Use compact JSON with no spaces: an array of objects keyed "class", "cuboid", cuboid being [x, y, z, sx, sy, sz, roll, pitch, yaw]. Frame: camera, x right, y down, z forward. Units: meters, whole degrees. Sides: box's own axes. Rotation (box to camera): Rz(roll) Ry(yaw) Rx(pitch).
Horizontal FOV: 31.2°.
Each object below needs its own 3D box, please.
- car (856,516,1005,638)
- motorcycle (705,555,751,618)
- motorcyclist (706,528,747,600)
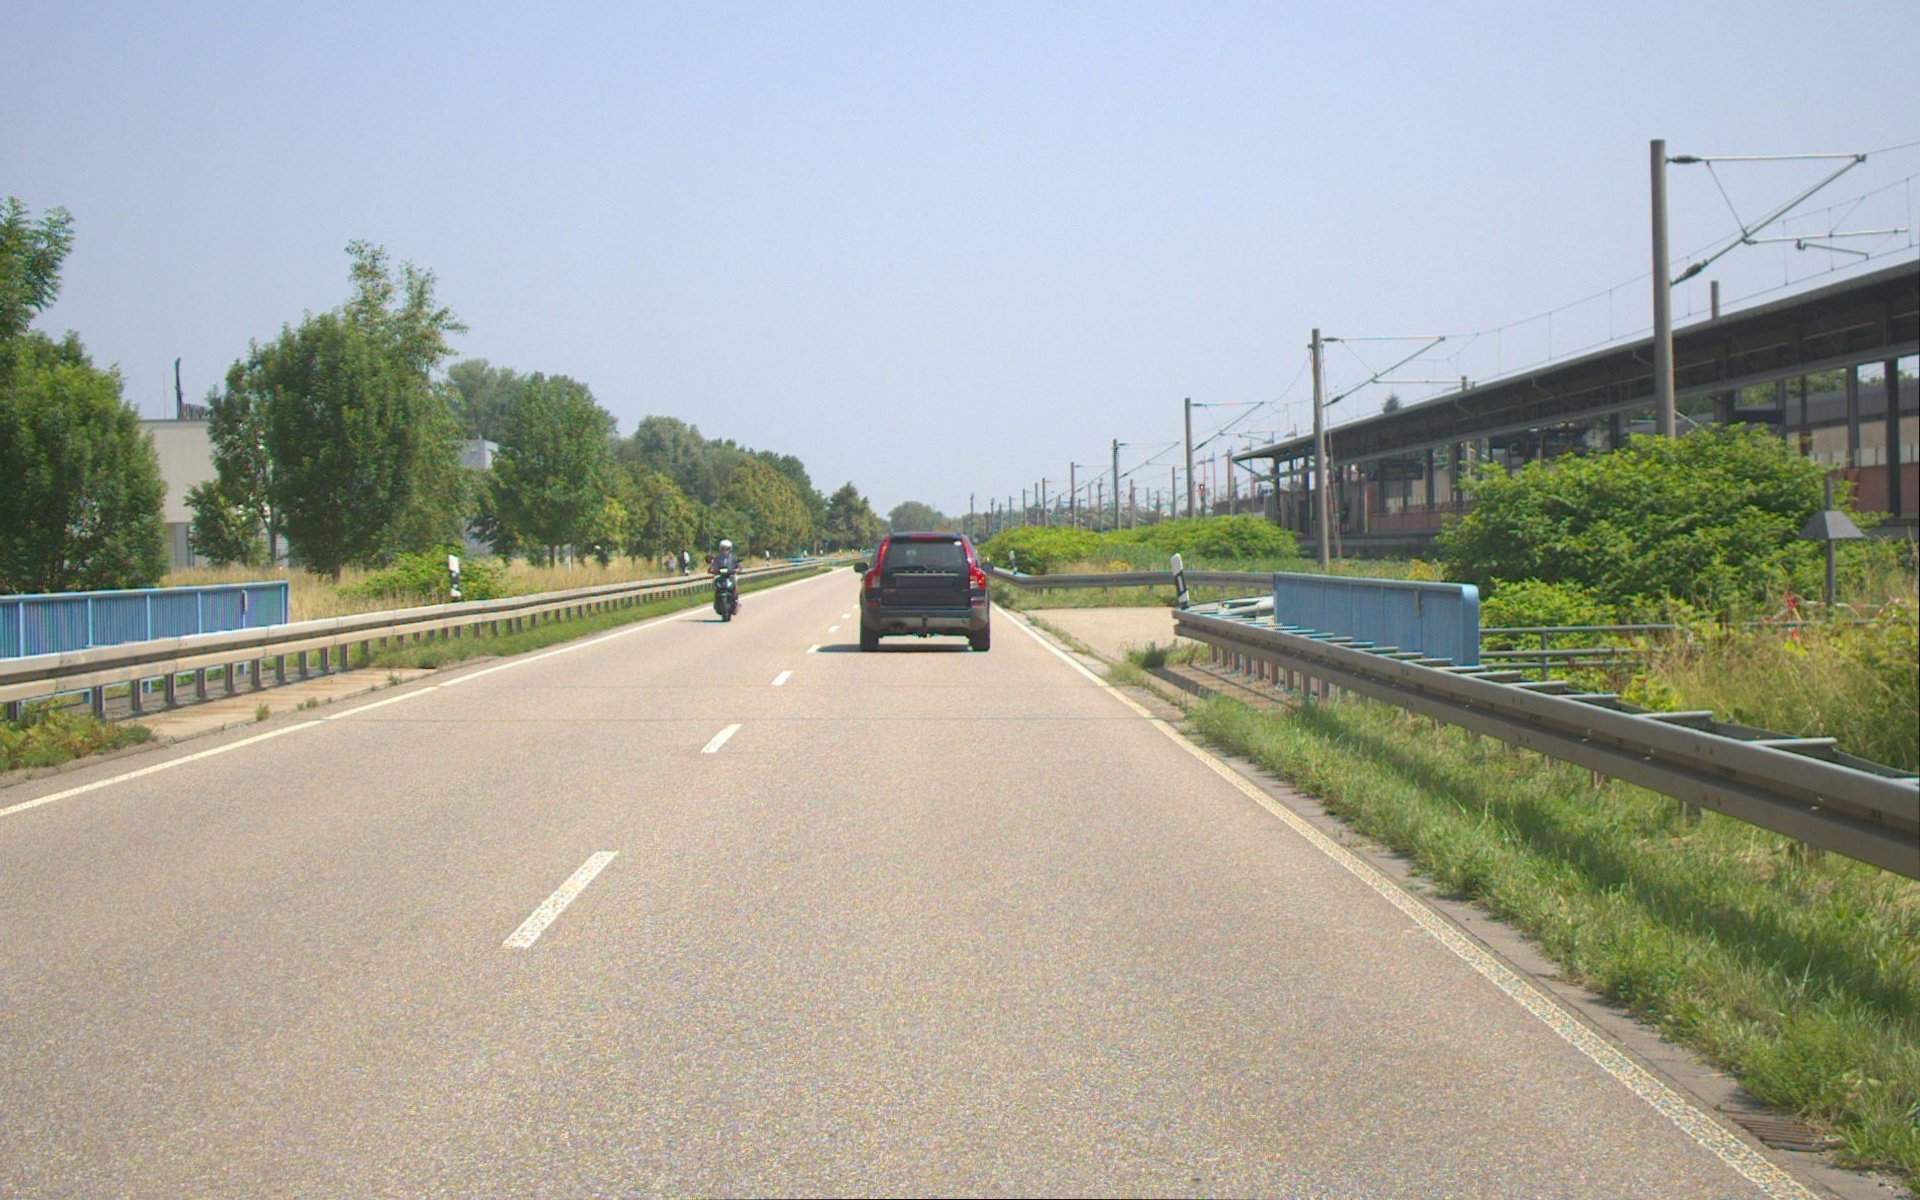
[{"class":"car","cuboid":[-0.474,-0.358,50.375,1.993,1.694,4.001,0,1,-3]},{"class":"motorcycle","cuboid":[-4.703,-0.288,69.706,0.689,1.230,2.369,0,1,2]},{"class":"motorcyclist","cuboid":[-4.734,-0.730,69.800,0.726,1.460,0.987,0,1,2]}]
